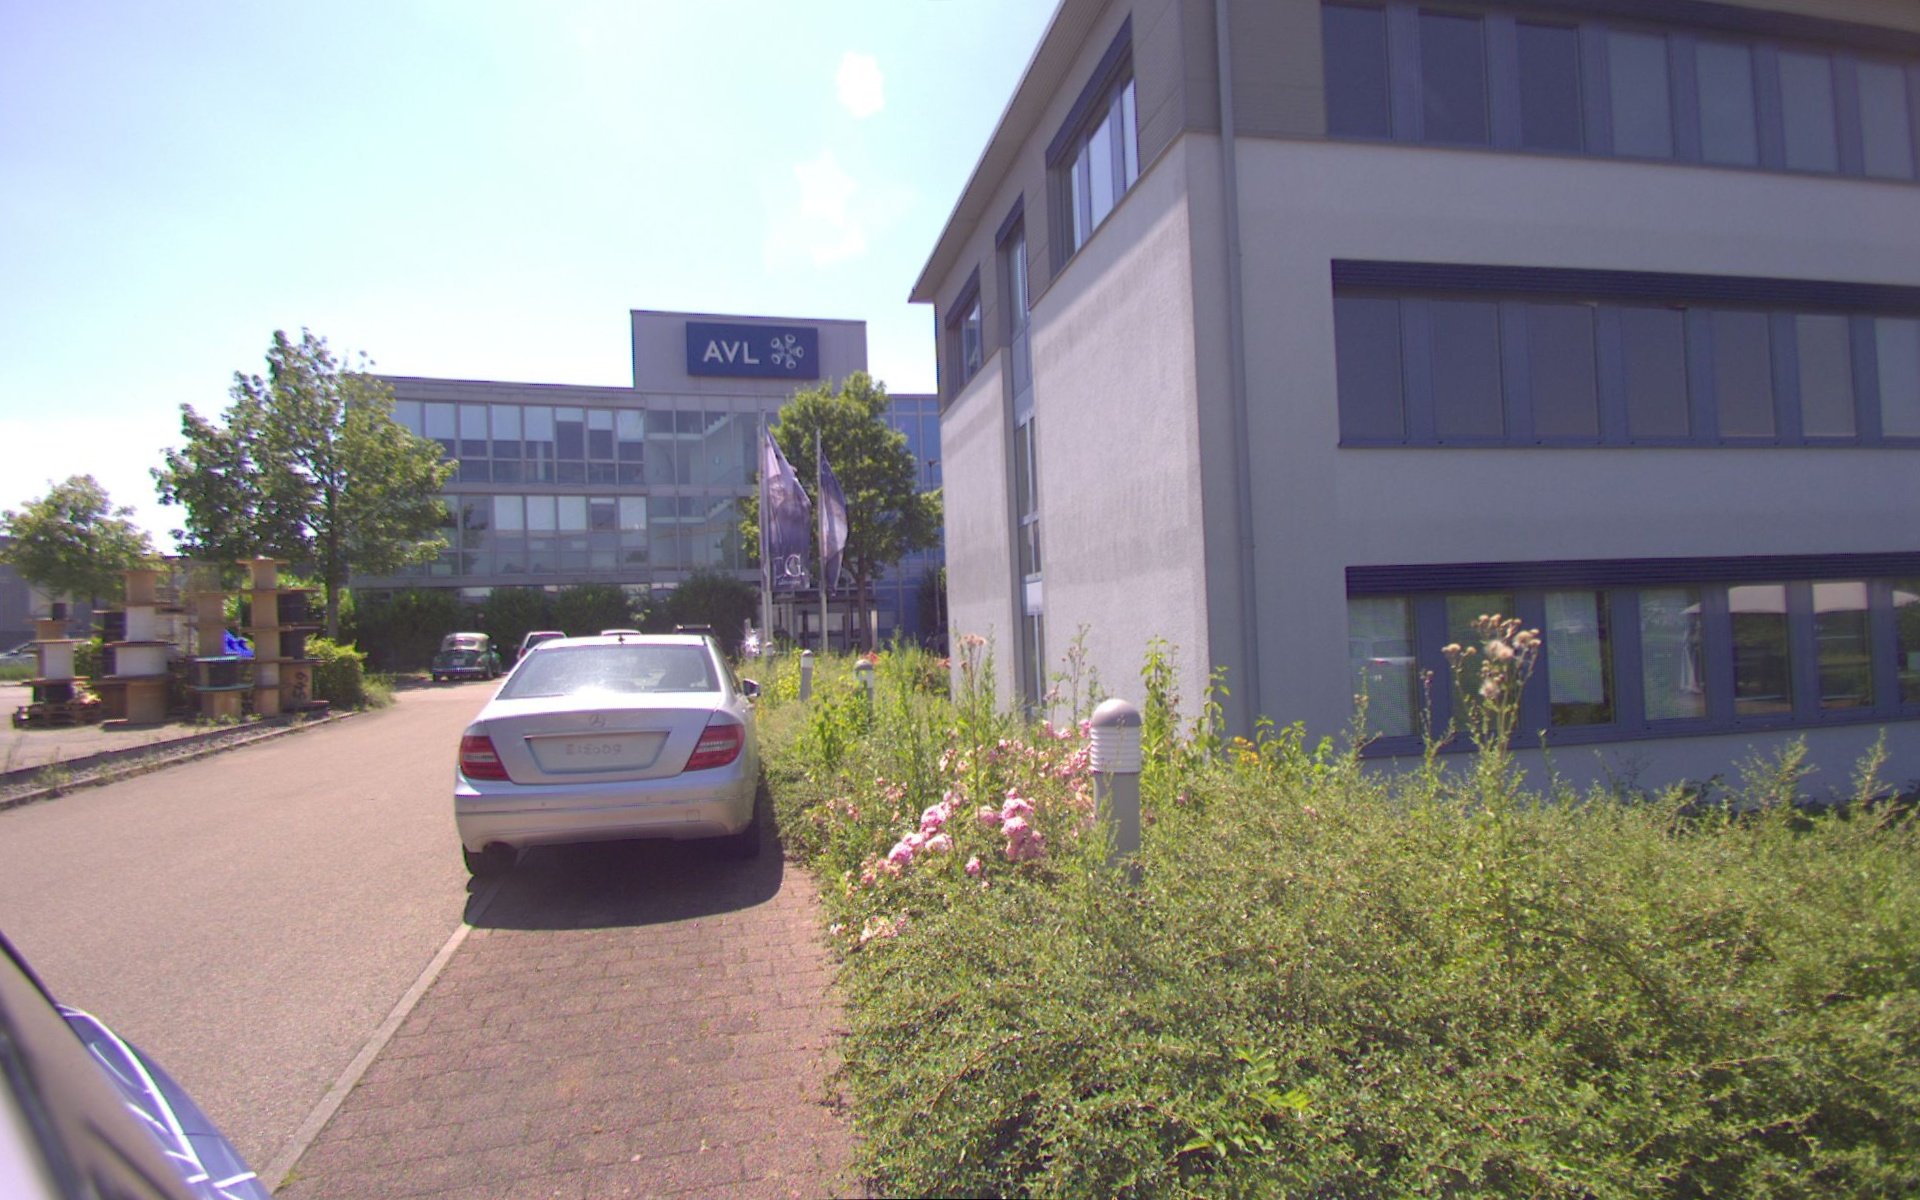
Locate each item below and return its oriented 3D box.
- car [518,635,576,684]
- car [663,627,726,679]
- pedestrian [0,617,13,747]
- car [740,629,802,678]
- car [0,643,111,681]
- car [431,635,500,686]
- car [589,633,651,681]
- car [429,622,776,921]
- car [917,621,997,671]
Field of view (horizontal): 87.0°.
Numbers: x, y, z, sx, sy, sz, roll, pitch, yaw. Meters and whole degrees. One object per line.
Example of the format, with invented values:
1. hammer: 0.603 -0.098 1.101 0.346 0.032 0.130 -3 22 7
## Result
1. car: -13.247 1.863 32.481 1.615 1.463 3.612 0 -2 -22
2. car: -8.982 1.743 34.073 1.907 1.615 3.871 0 -1 -17
3. pedestrian: -13.591 1.133 13.728 0.761 1.782 0.805 -2 -1 15
4. car: -6.547 1.791 34.744 1.702 1.495 4.409 -1 -2 -15
5. car: -39.521 2.670 43.641 4.354 1.487 1.780 -1 -2 1
6. car: -15.423 1.858 31.688 1.496 1.457 3.430 0 -2 -19
7. car: -11.347 1.850 33.657 1.702 1.463 3.612 0 -1 -22
8. car: -2.281 0.928 7.301 1.706 1.468 4.158 -1 -2 -12
9. car: -0.178 1.632 36.634 1.802 1.650 4.183 -1 -2 -16
